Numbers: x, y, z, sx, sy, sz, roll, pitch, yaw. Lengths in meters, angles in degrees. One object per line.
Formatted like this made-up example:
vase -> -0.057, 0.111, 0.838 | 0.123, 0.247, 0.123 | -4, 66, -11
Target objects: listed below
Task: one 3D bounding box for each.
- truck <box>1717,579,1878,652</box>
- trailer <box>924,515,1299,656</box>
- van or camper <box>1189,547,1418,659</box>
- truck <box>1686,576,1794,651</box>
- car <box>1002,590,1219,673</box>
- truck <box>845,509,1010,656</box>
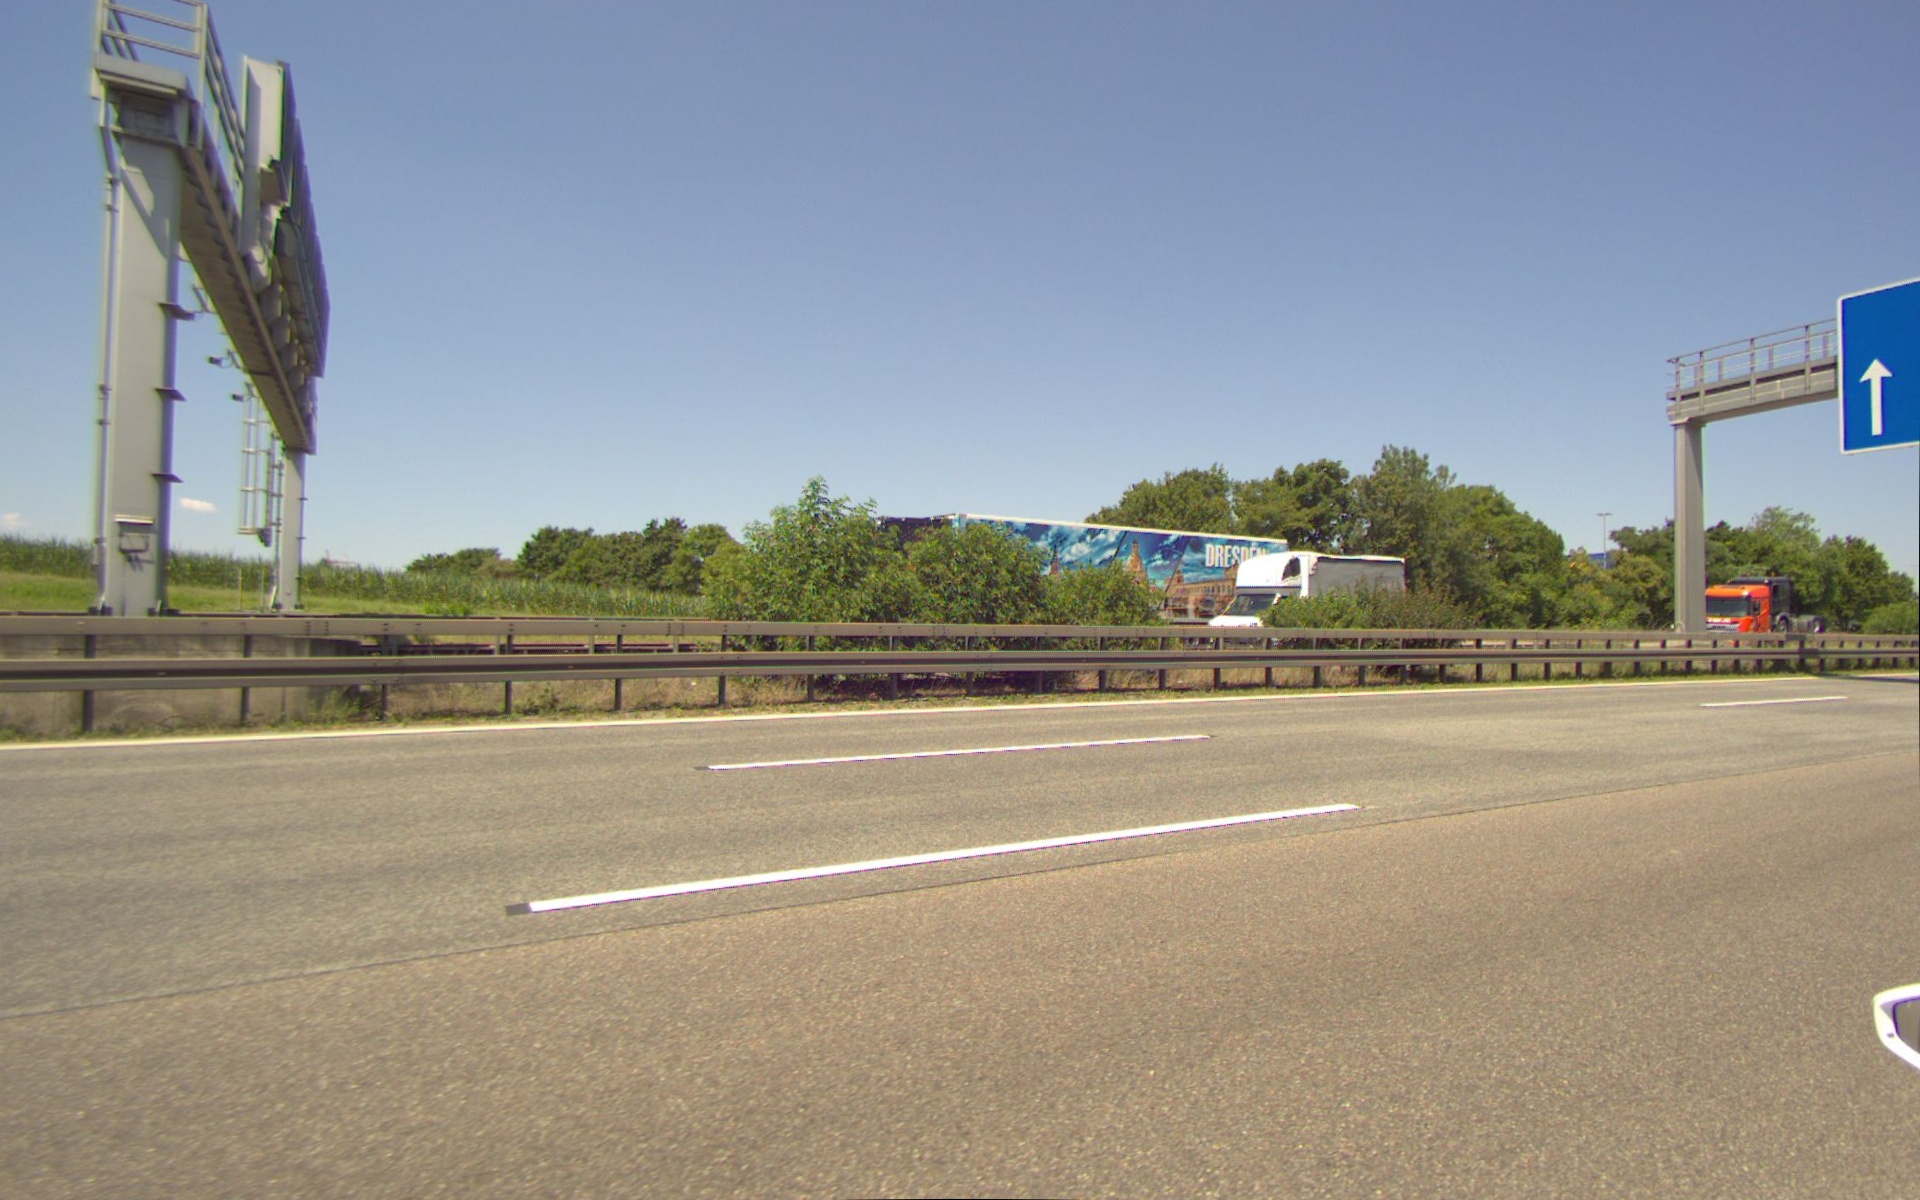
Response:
truck -> 47.845, 0.942, 57.220 | 12.177, 3.844, 2.741 | 1, 0, -29
trailer -> 5.424, -0.272, 32.664 | 13.837, 3.975, 1.984 | 1, 0, -30
van or camper -> 11.092, 0.161, 32.183 | 7.730, 3.263, 2.463 | 1, 0, -30
truck -> 41.936, 0.743, 54.005 | 5.039, 3.844, 2.741 | 1, 0, -29
car -> 3.572, 0.713, 23.622 | 4.771, 1.776, 2.106 | 1, 0, -30
truck -> -0.913, -0.435, 28.960 | 4.289, 3.948, 1.984 | 1, 0, -30
